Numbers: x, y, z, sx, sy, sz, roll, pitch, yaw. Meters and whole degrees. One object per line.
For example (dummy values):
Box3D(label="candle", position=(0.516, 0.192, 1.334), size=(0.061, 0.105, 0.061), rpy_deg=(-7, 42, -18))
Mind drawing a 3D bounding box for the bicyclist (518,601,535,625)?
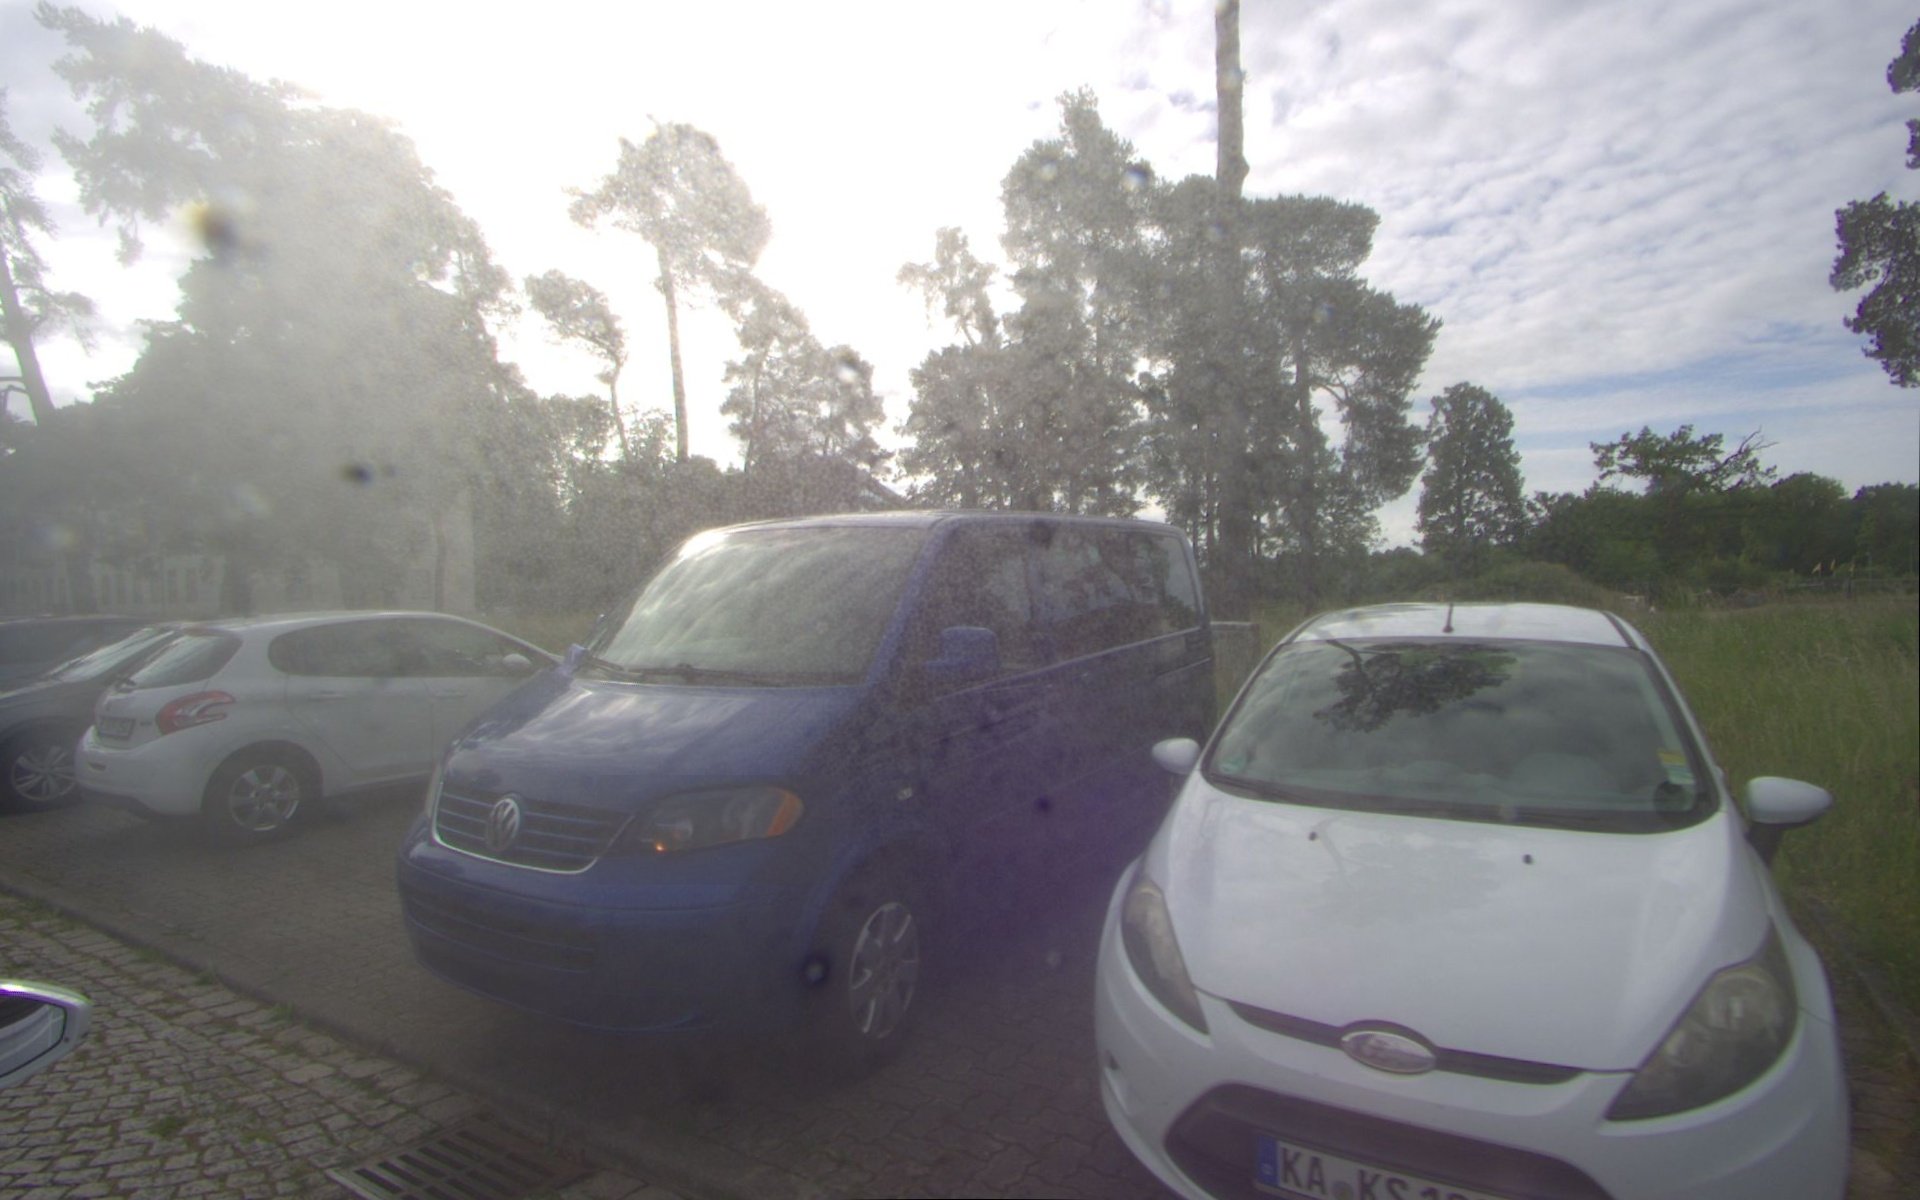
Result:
Box3D(label="bicyclist", position=(-26.241, 0.760, 60.626), size=(0.598, 1.429, 0.745), rpy_deg=(0, 1, 43))

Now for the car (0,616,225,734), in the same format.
Box3D(label="car", position=(-11.641, 0.913, 12.272), size=(1.732, 1.253, 3.854), rpy_deg=(0, 2, 31))

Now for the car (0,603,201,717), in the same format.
Box3D(label="car", position=(-13.502, 0.847, 13.947), size=(1.844, 1.436, 4.251), rpy_deg=(0, 2, 32))

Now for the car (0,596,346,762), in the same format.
Box3D(label="car", position=(-9.320, 0.767, 11.132), size=(1.732, 1.492, 3.854), rpy_deg=(0, 2, 31))

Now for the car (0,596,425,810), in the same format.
Box3D(label="car", position=(-7.250, 0.779, 9.101), size=(1.731, 1.492, 3.857), rpy_deg=(0, 2, 28))

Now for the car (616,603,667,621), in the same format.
Box3D(label="car", position=(-27.023, 1.032, 85.135), size=(1.628, 1.439, 3.939), rpy_deg=(0, -3, 35))

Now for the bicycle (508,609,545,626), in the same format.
Box3D(label="bicycle", position=(-26.241, 1.054, 60.641), size=(0.598, 1.038, 1.944), rpy_deg=(0, 1, 43))

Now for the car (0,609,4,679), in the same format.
Box3D(label="car", position=(-19.781, 0.817, 17.674), size=(1.619, 1.497, 3.915), rpy_deg=(0, 2, 33))

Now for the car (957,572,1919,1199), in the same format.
Box3D(label="car", position=(1.776, 0.759, 3.502), size=(1.814, 1.493, 3.852), rpy_deg=(0, 4, 31))

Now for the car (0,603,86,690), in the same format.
Box3D(label="car", position=(-17.702, 0.861, 16.441), size=(1.843, 1.436, 4.672), rpy_deg=(0, 2, 30))

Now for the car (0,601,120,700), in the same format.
Box3D(label="car", position=(-15.584, 0.817, 14.833), size=(1.840, 1.436, 4.421), rpy_deg=(-1, 2, 23))

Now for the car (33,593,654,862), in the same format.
Box3D(label="car", position=(-4.574, 0.753, 8.054), size=(1.732, 1.492, 3.854), rpy_deg=(0, 2, 31))

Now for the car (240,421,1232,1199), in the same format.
Box3D(label="car", position=(-0.313, 0.495, 4.924), size=(1.974, 1.972, 4.797), rpy_deg=(0, 2, 31))
